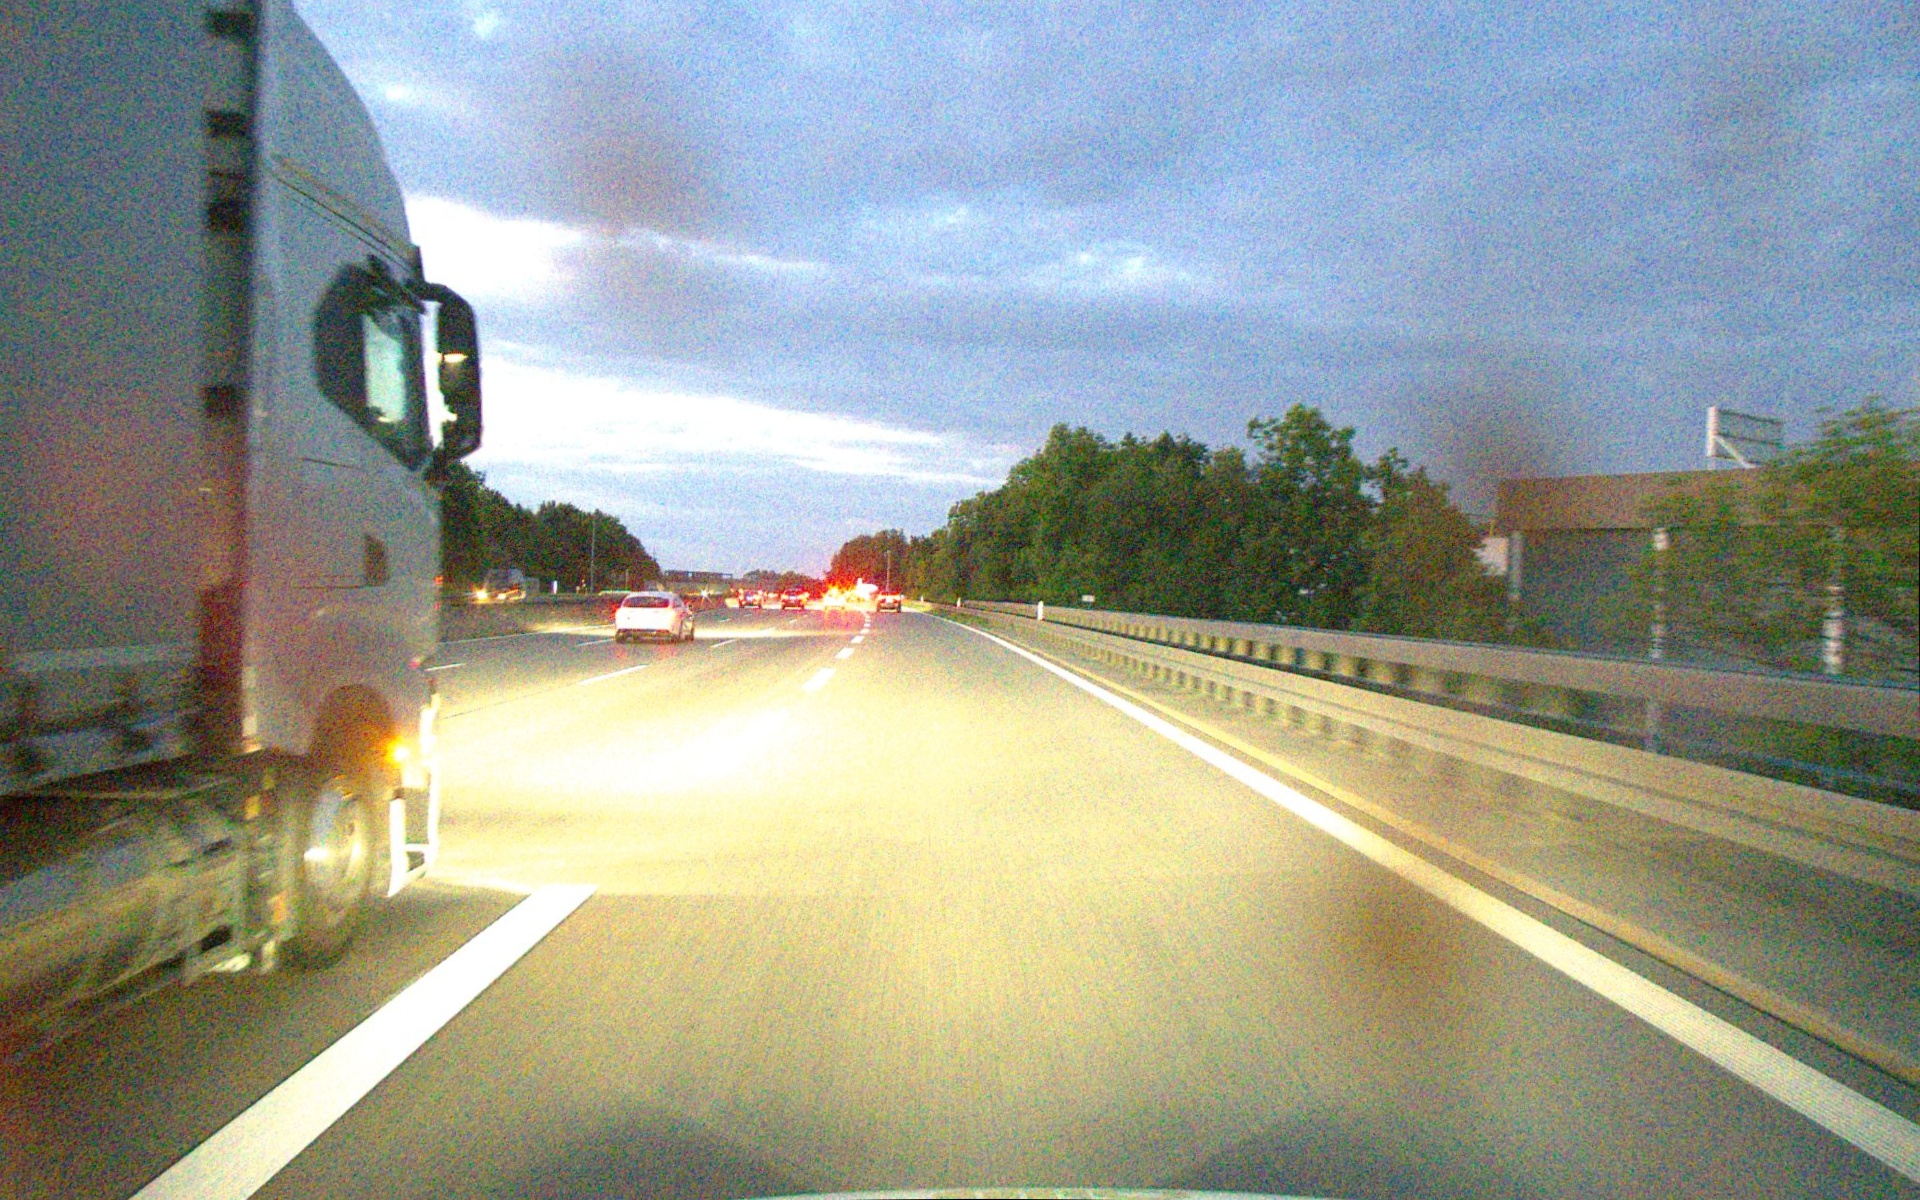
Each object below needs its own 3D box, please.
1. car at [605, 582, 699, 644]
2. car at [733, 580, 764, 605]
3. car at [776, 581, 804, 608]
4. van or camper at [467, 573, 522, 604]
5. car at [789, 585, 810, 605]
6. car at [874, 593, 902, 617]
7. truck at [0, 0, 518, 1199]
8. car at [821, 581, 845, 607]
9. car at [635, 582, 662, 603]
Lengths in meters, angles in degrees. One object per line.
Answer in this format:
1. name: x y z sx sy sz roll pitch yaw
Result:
1. car: -8.830 0.346 47.769 1.953 1.671 4.553 1 0 -1
2. car: -17.271 -0.625 135.097 2.062 2.049 3.999 0 0 -1
3. car: -13.290 -0.424 129.418 2.030 2.049 3.997 1 0 -4
4. van or camper: -32.241 -0.759 114.685 2.330 2.049 6.487 1 0 -4
5. car: -16.490 -0.494 169.695 1.956 2.049 3.992 1 0 -9
6. car: -5.483 0.373 125.170 1.954 1.688 4.311 1 0 -4
7. truck: -3.602 -0.570 5.371 2.722 3.970 6.153 1 0 -1
8. car: -10.583 -0.480 137.650 1.954 2.049 3.996 1 0 -5
9. car: -32.022 -0.768 170.117 1.953 2.049 4.493 1 0 -2
